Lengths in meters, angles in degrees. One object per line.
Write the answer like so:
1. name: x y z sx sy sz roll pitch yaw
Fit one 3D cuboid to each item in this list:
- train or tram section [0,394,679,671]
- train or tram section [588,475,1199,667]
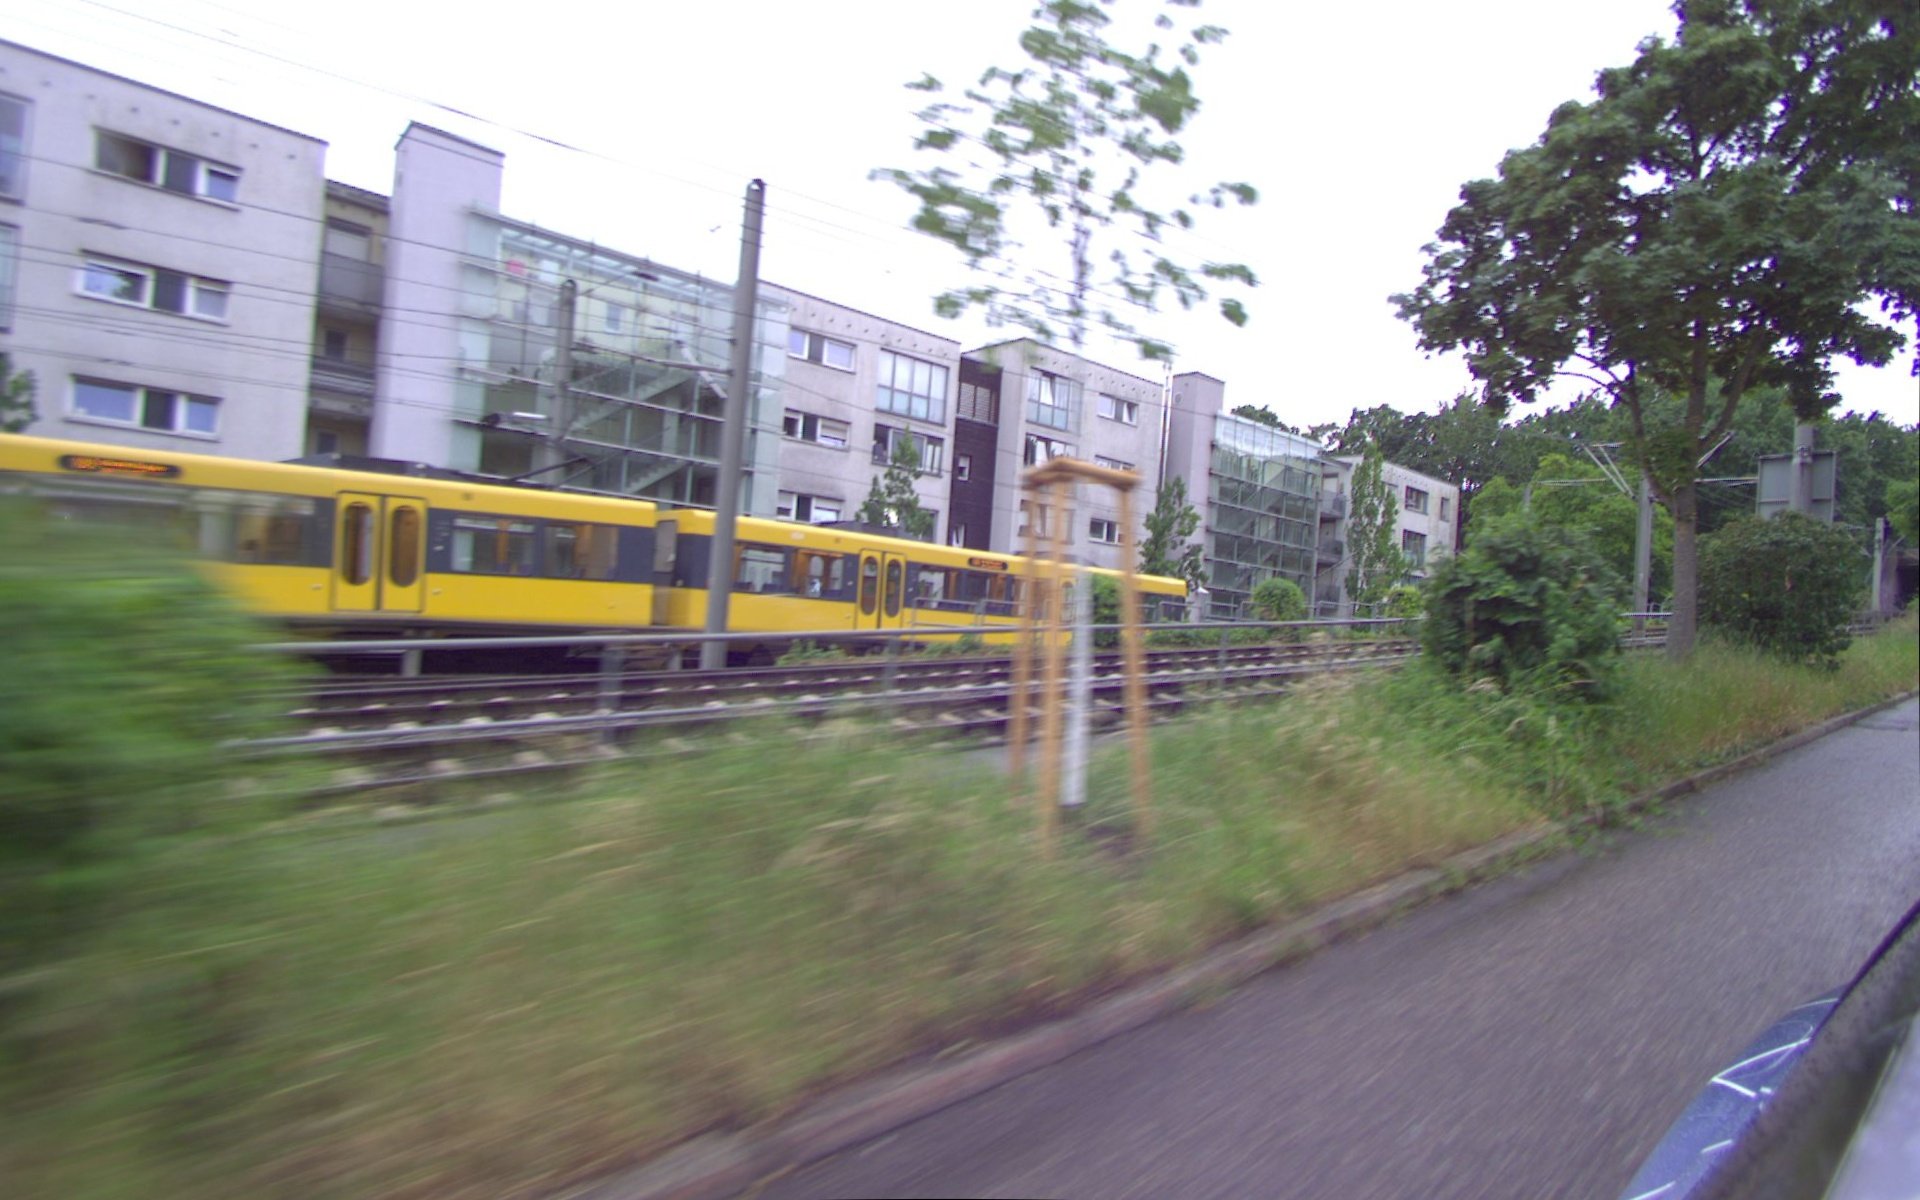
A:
1. train or tram section: -14.088 -0.984 16.678 18.478 3.997 3.337 3 0 -41
2. train or tram section: -0.401 -0.644 28.478 18.942 3.996 3.337 0 2 -41
